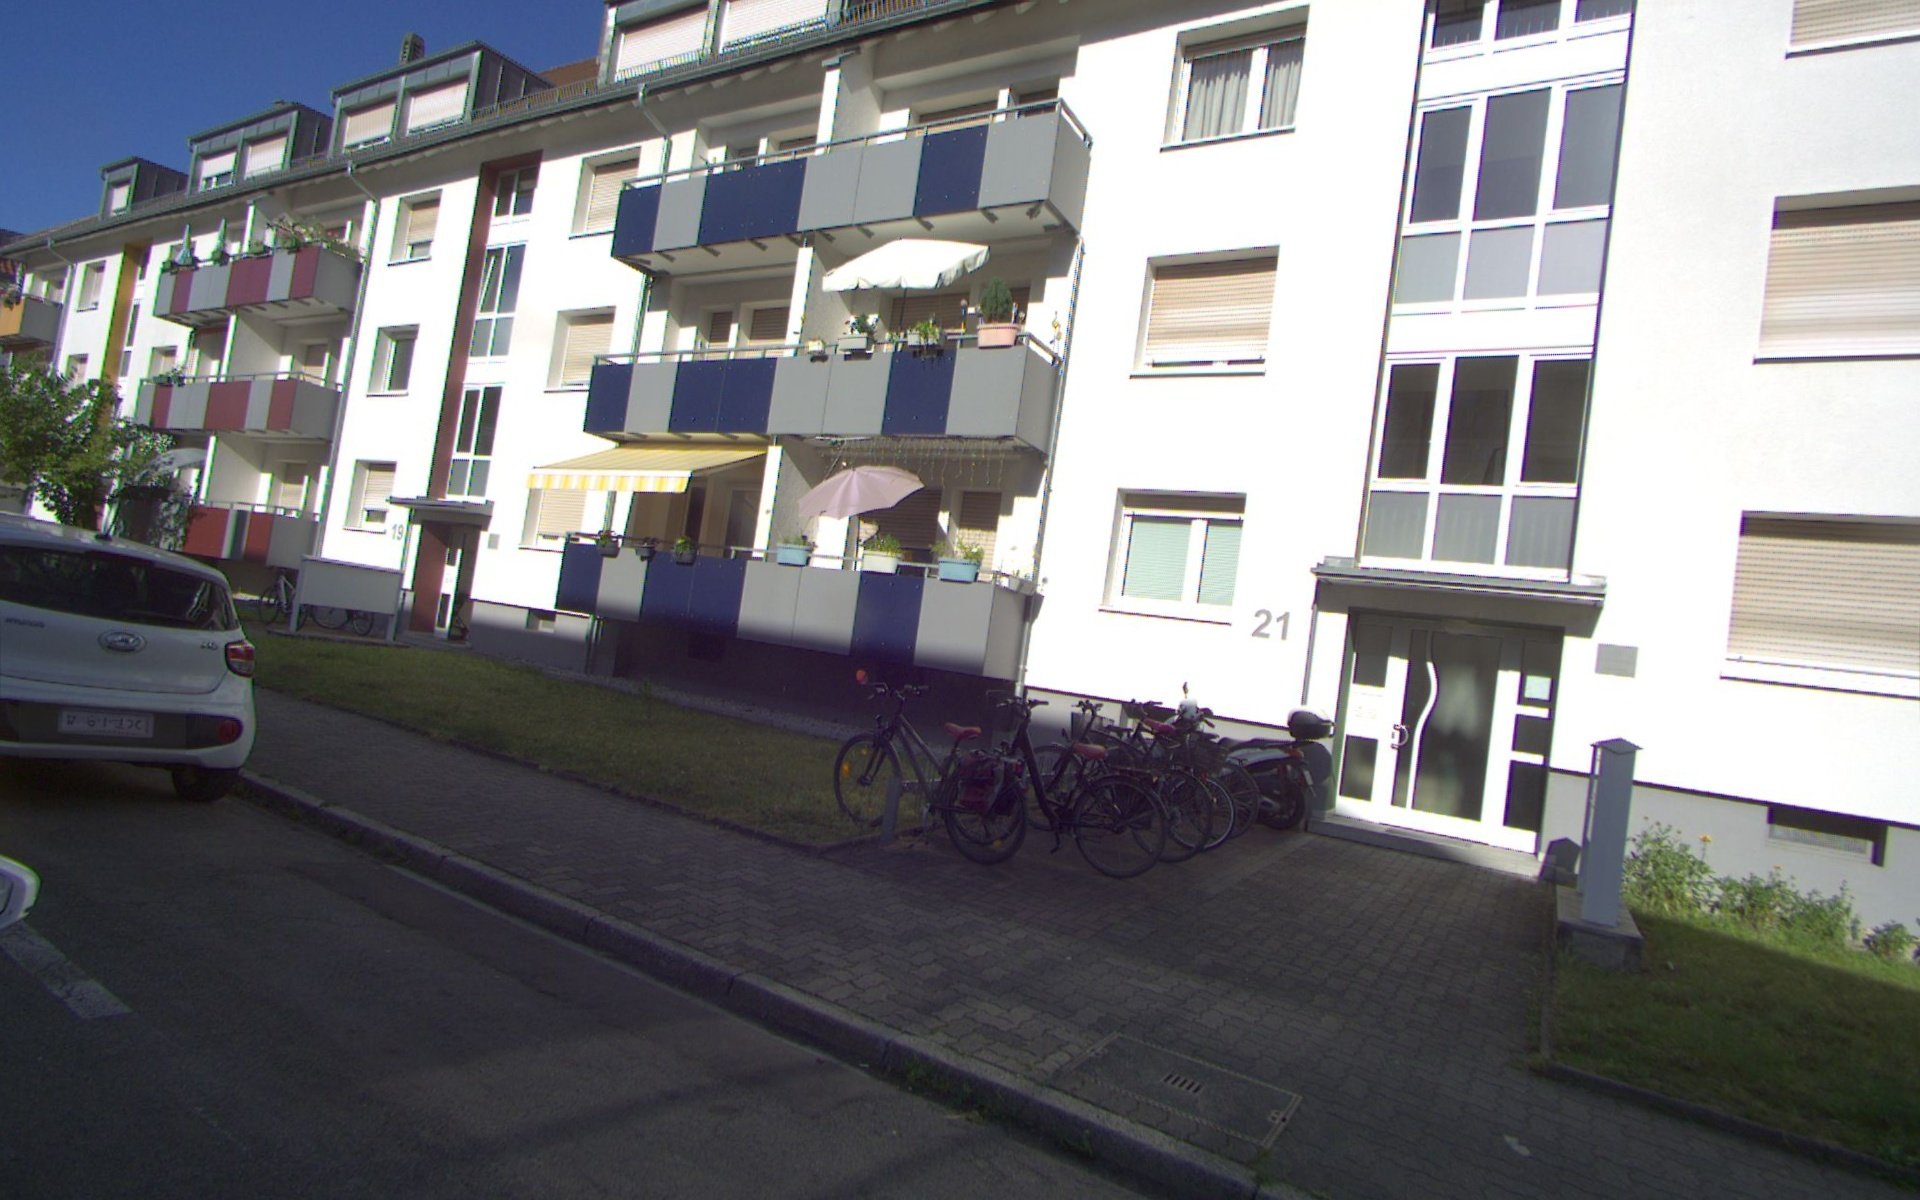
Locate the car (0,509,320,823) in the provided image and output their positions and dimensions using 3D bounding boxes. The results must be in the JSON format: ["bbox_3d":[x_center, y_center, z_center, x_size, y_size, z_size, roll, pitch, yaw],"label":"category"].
[{"bbox_3d":[-6.073,0.233,6.336,3.789,1.524,1.721,7,-6,31],"label":"car"}]

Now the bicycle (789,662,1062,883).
[{"bbox_3d":[-0.283,1.162,7.167,1.842,1.184,0.545,7,-1,33],"label":"bicycle"}]

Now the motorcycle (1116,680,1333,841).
[{"bbox_3d":[2.643,1.577,10.172,1.944,1.253,0.442,7,-1,32],"label":"motorcycle"}]

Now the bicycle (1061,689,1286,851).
[{"bbox_3d":[1.975,1.539,9.408,1.841,1.128,0.597,7,-2,31],"label":"bicycle"}]

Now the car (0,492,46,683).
[{"bbox_3d":[-10.266,-0.386,9.047,4.280,1.596,1.727,7,-2,31],"label":"car"}]

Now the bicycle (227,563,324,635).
[{"bbox_3d":[-12.567,-0.033,18.441,2.250,1.061,0.521,7,0,32],"label":"bicycle"}]

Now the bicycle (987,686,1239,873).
[{"bbox_3d":[1.213,1.401,8.189,1.841,1.134,0.544,7,-1,31],"label":"bicycle"}]

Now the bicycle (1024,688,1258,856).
[{"bbox_3d":[1.558,1.450,8.817,1.841,1.096,0.539,7,1,31],"label":"bicycle"}]

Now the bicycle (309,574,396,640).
[{"bbox_3d":[-11.789,0.125,19.498,1.942,1.049,0.521,7,-1,32],"label":"bicycle"}]

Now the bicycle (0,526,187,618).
[{"bbox_3d":[-14.275,-0.448,16.390,0.866,1.142,2.426,7,-3,37],"label":"bicycle"}]

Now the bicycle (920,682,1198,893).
[{"bbox_3d":[0.699,1.309,7.390,1.841,1.146,0.578,7,-1,31],"label":"bicycle"}]
